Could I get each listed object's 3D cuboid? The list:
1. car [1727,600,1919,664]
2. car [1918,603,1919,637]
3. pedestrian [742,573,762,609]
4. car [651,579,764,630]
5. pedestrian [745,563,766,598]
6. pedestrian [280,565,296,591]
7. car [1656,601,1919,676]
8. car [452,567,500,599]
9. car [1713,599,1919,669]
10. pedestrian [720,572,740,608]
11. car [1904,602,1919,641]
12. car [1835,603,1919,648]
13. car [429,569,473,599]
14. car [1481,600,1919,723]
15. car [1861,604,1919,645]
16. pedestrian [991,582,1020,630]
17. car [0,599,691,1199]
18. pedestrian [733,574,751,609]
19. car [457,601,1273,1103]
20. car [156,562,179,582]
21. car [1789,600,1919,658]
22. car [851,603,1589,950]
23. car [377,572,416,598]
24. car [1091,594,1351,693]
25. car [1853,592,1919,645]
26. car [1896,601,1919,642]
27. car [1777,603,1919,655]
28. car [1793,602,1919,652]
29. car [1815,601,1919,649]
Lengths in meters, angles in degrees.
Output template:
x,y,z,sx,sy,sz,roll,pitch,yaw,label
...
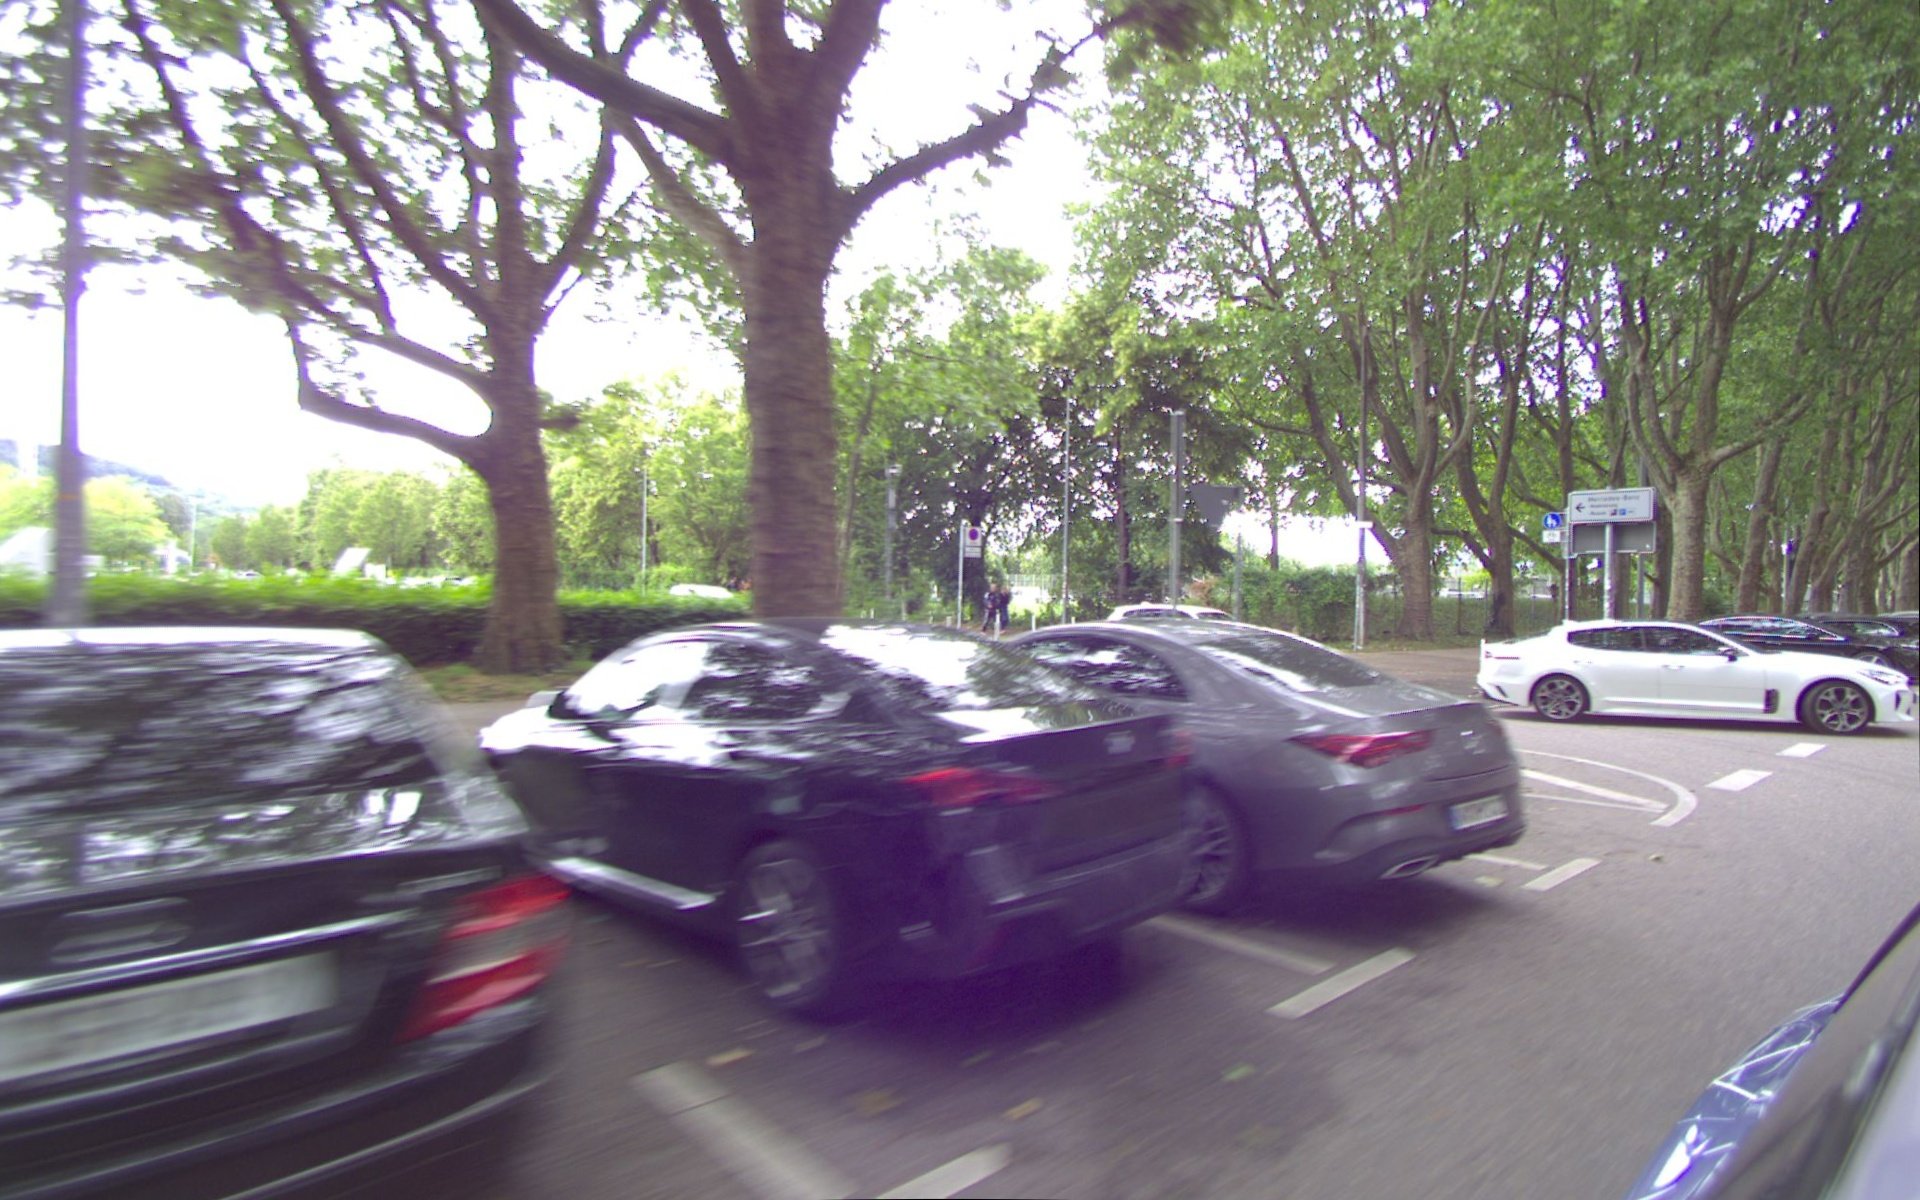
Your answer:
x,y,z,sx,sy,sz,roll,pitch,yaw,label
22.642,0.798,25.784,1.966,1.543,4.668,0,-2,-42,car
51.985,0.966,51.300,1.962,1.773,4.677,0,-2,-36,car
-9.740,-0.406,47.301,0.685,1.664,0.725,0,0,-35,pedestrian
-8.262,0.104,32.923,1.754,1.480,4.283,1,1,-42,car
-9.785,-0.922,48.351,0.711,1.664,0.698,1,1,-35,pedestrian
-42.133,-1.377,63.447,0.722,1.664,0.687,0,0,42,pedestrian
18.676,0.826,22.606,1.966,1.525,4.824,0,-2,-42,car
-31.958,-1.077,66.835,1.965,2.039,3.995,0,0,-40,car
20.573,0.741,23.753,1.966,1.496,4.376,0,0,-42,car
-10.809,-0.471,47.464,0.711,1.664,0.698,0,0,-35,pedestrian
45.256,0.927,44.831,1.962,1.773,4.677,0,-2,-36,car
33.885,0.867,35.340,1.962,1.543,4.677,0,-1,-36,car
-35.818,-1.104,71.203,1.965,2.039,3.995,0,0,-40,car
9.820,0.757,13.664,4.655,1.401,1.971,-1,-2,39,car
39.303,0.952,40.381,1.962,1.632,4.677,0,-1,-36,car
1.562,0.194,34.517,0.685,1.587,0.725,0,0,-35,pedestrian
-2.440,0.720,3.062,1.688,1.435,3.837,1,-1,-40,car
-10.571,-0.419,49.172,0.686,1.664,0.724,0,0,5,pedestrian
-0.758,0.730,5.001,4.017,1.435,1.881,0,-1,44,car
-85.133,-2.949,108.699,1.964,2.039,3.996,0,0,-38,car
26.811,0.817,29.226,1.788,1.544,4.106,1,1,-31,car
1.208,0.745,6.566,1.687,1.435,4.599,1,-1,-37,car
-44.716,-1.157,80.287,1.965,2.039,3.995,0,0,-40,car
4.584,0.689,18.287,1.754,1.480,4.283,1,1,-42,car
35.907,0.652,36.894,1.962,1.927,4.677,0,-2,-36,car
43.596,0.888,43.462,1.962,1.773,4.677,0,-2,-36,car
28.463,0.867,31.259,1.868,1.542,4.679,1,-1,-35,car
30.157,0.860,32.652,1.962,1.543,4.678,0,-1,-35,car
31.995,0.823,33.974,1.962,1.543,4.677,0,-1,-36,car
